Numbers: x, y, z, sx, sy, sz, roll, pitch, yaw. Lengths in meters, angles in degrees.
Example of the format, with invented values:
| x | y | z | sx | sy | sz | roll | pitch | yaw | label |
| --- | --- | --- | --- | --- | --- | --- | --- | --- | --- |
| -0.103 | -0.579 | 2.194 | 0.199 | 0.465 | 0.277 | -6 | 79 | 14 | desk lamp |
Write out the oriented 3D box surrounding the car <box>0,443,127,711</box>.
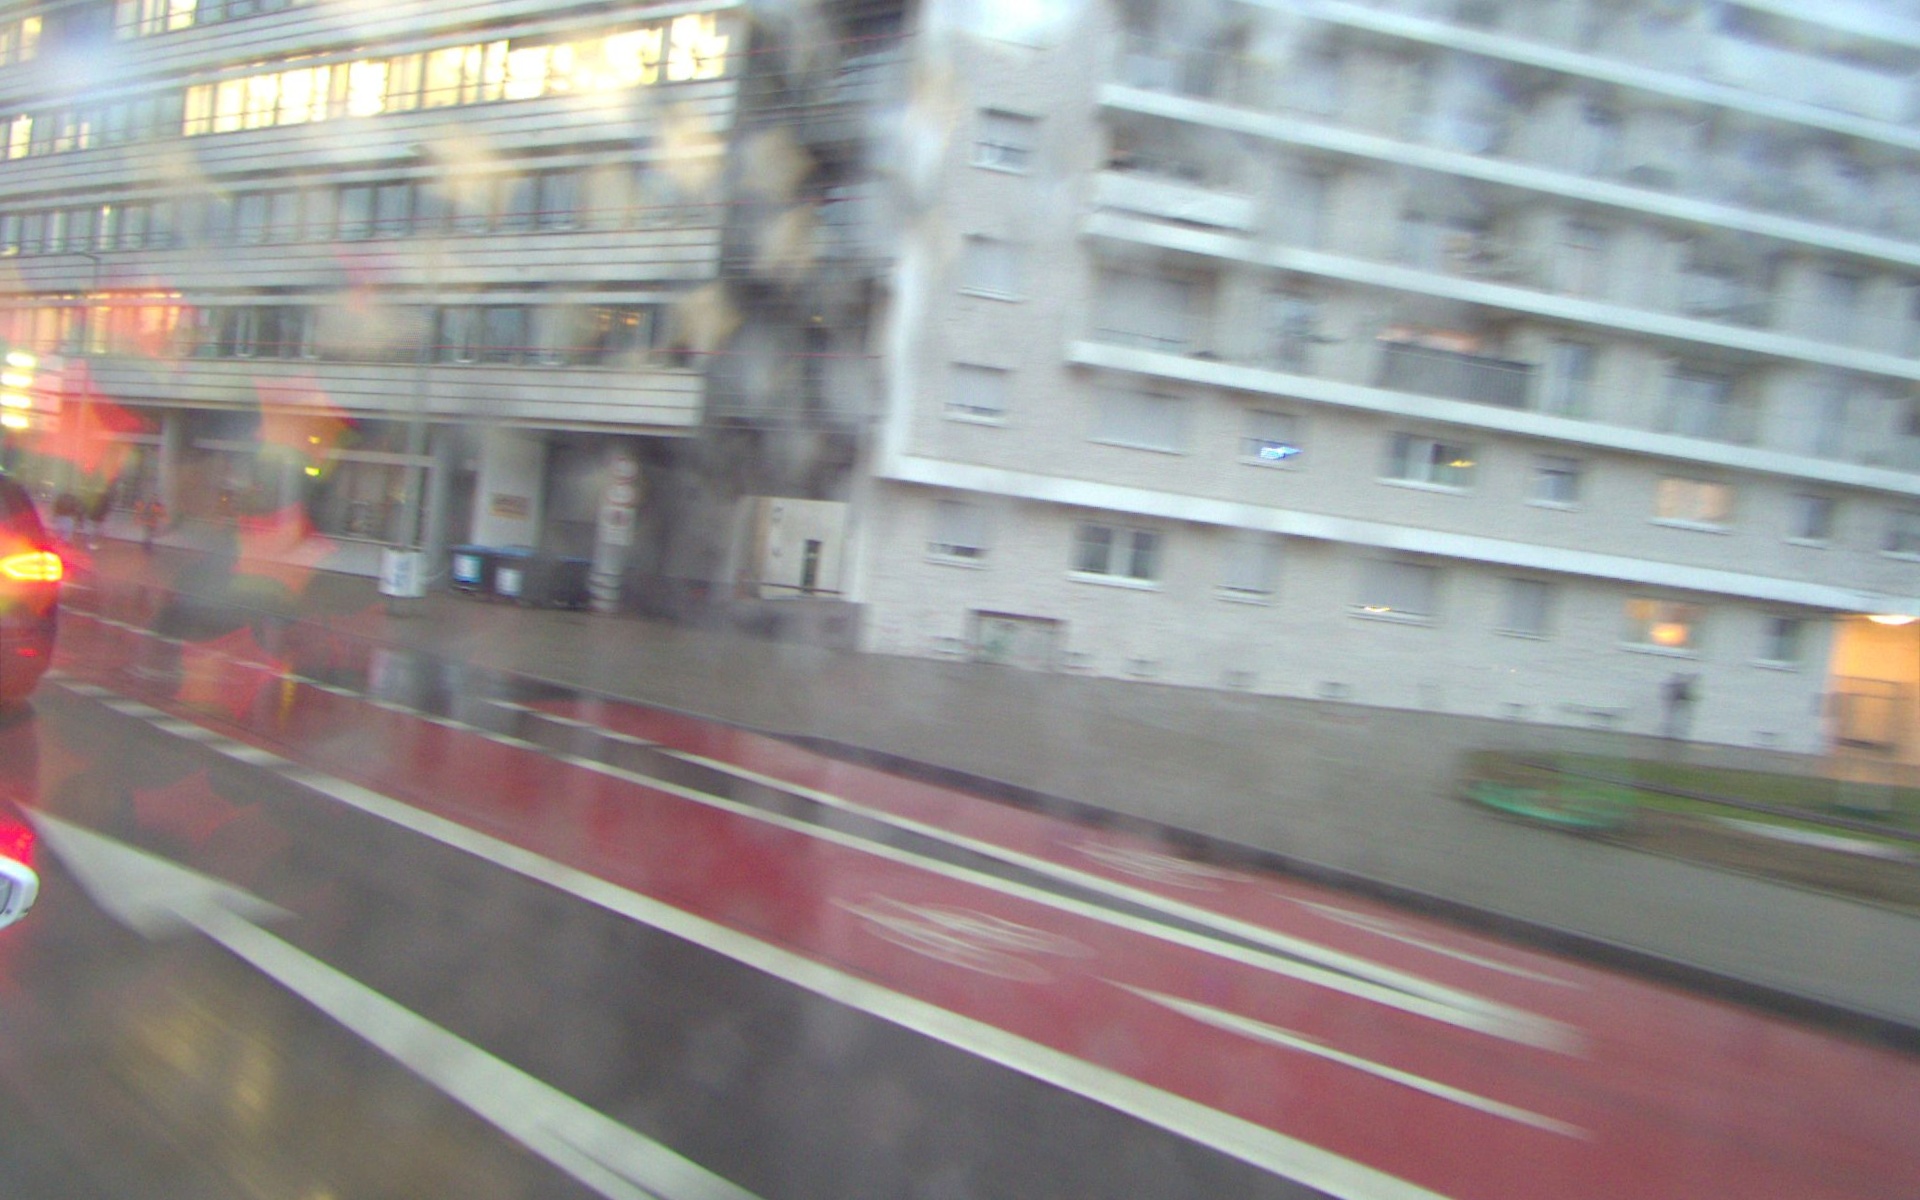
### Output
| x | y | z | sx | sy | sz | roll | pitch | yaw | label |
| --- | --- | --- | --- | --- | --- | --- | --- | --- | --- |
| -8.220 | -0.362 | 7.657 | 3.935 | 1.801 | 1.676 | 7 | 0 | 33 | car |

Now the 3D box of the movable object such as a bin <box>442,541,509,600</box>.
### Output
| x | y | z | sx | sy | sz | roll | pitch | yaw | label |
| --- | --- | --- | --- | --- | --- | --- | --- | --- | --- |
| -11.813 | -0.707 | 24.545 | 1.147 | 1.311 | 0.845 | 7 | 3 | 20 | movable object such as a bin |

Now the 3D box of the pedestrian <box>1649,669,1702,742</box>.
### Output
| x | y | z | sx | sy | sz | roll | pitch | yaw | label |
| --- | --- | --- | --- | --- | --- | --- | --- | --- | --- |
| 17.491 | 2.575 | 24.590 | 0.626 | 1.653 | 0.715 | 6 | 2 | -34 | pedestrian |

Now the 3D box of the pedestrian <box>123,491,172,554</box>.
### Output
| x | y | z | sx | sy | sz | roll | pitch | yaw | label |
| --- | --- | --- | --- | --- | --- | --- | --- | --- | --- |
| -23.179 | -2.212 | 28.695 | 0.887 | 1.645 | 0.727 | 7 | 1 | 30 | pedestrian |

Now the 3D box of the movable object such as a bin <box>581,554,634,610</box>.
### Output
| x | y | z | sx | sy | sz | roll | pitch | yaw | label |
| --- | --- | --- | --- | --- | --- | --- | --- | --- | --- |
| -8.948 | -0.454 | 25.531 | 0.946 | 1.323 | 0.730 | 7 | 3 | 20 | movable object such as a bin |

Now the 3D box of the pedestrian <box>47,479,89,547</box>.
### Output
| x | y | z | sx | sy | sz | roll | pitch | yaw | label |
| --- | --- | --- | --- | --- | --- | --- | --- | --- | --- |
| -24.029 | -2.343 | 27.099 | 0.732 | 1.704 | 0.531 | 7 | 1 | 30 | pedestrian |

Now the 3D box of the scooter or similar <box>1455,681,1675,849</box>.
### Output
| x | y | z | sx | sy | sz | roll | pitch | yaw | label |
| --- | --- | --- | --- | --- | --- | --- | --- | --- | --- |
| 5.518 | 1.453 | 9.223 | 1.536 | 1.242 | 0.666 | 5 | 1 | 43 | scooter or similar |

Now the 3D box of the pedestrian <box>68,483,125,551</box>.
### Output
| x | y | z | sx | sy | sz | roll | pitch | yaw | label |
| --- | --- | --- | --- | --- | --- | --- | --- | --- | --- |
| -23.843 | -2.286 | 27.793 | 1.051 | 1.707 | 0.793 | 7 | 1 | 30 | pedestrian |

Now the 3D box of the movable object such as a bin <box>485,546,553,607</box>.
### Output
| x | y | z | sx | sy | sz | roll | pitch | yaw | label |
| --- | --- | --- | --- | --- | --- | --- | --- | --- | --- |
| -10.570 | -0.553 | 24.109 | 1.147 | 1.311 | 0.845 | 7 | 3 | 20 | movable object such as a bin |

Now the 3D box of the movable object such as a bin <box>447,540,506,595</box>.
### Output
| x | y | z | sx | sy | sz | roll | pitch | yaw | label |
| --- | --- | --- | --- | --- | --- | --- | --- | --- | --- |
| -12.516 | -0.838 | 26.046 | 0.994 | 1.311 | 0.867 | 7 | 3 | 20 | movable object such as a bin |
